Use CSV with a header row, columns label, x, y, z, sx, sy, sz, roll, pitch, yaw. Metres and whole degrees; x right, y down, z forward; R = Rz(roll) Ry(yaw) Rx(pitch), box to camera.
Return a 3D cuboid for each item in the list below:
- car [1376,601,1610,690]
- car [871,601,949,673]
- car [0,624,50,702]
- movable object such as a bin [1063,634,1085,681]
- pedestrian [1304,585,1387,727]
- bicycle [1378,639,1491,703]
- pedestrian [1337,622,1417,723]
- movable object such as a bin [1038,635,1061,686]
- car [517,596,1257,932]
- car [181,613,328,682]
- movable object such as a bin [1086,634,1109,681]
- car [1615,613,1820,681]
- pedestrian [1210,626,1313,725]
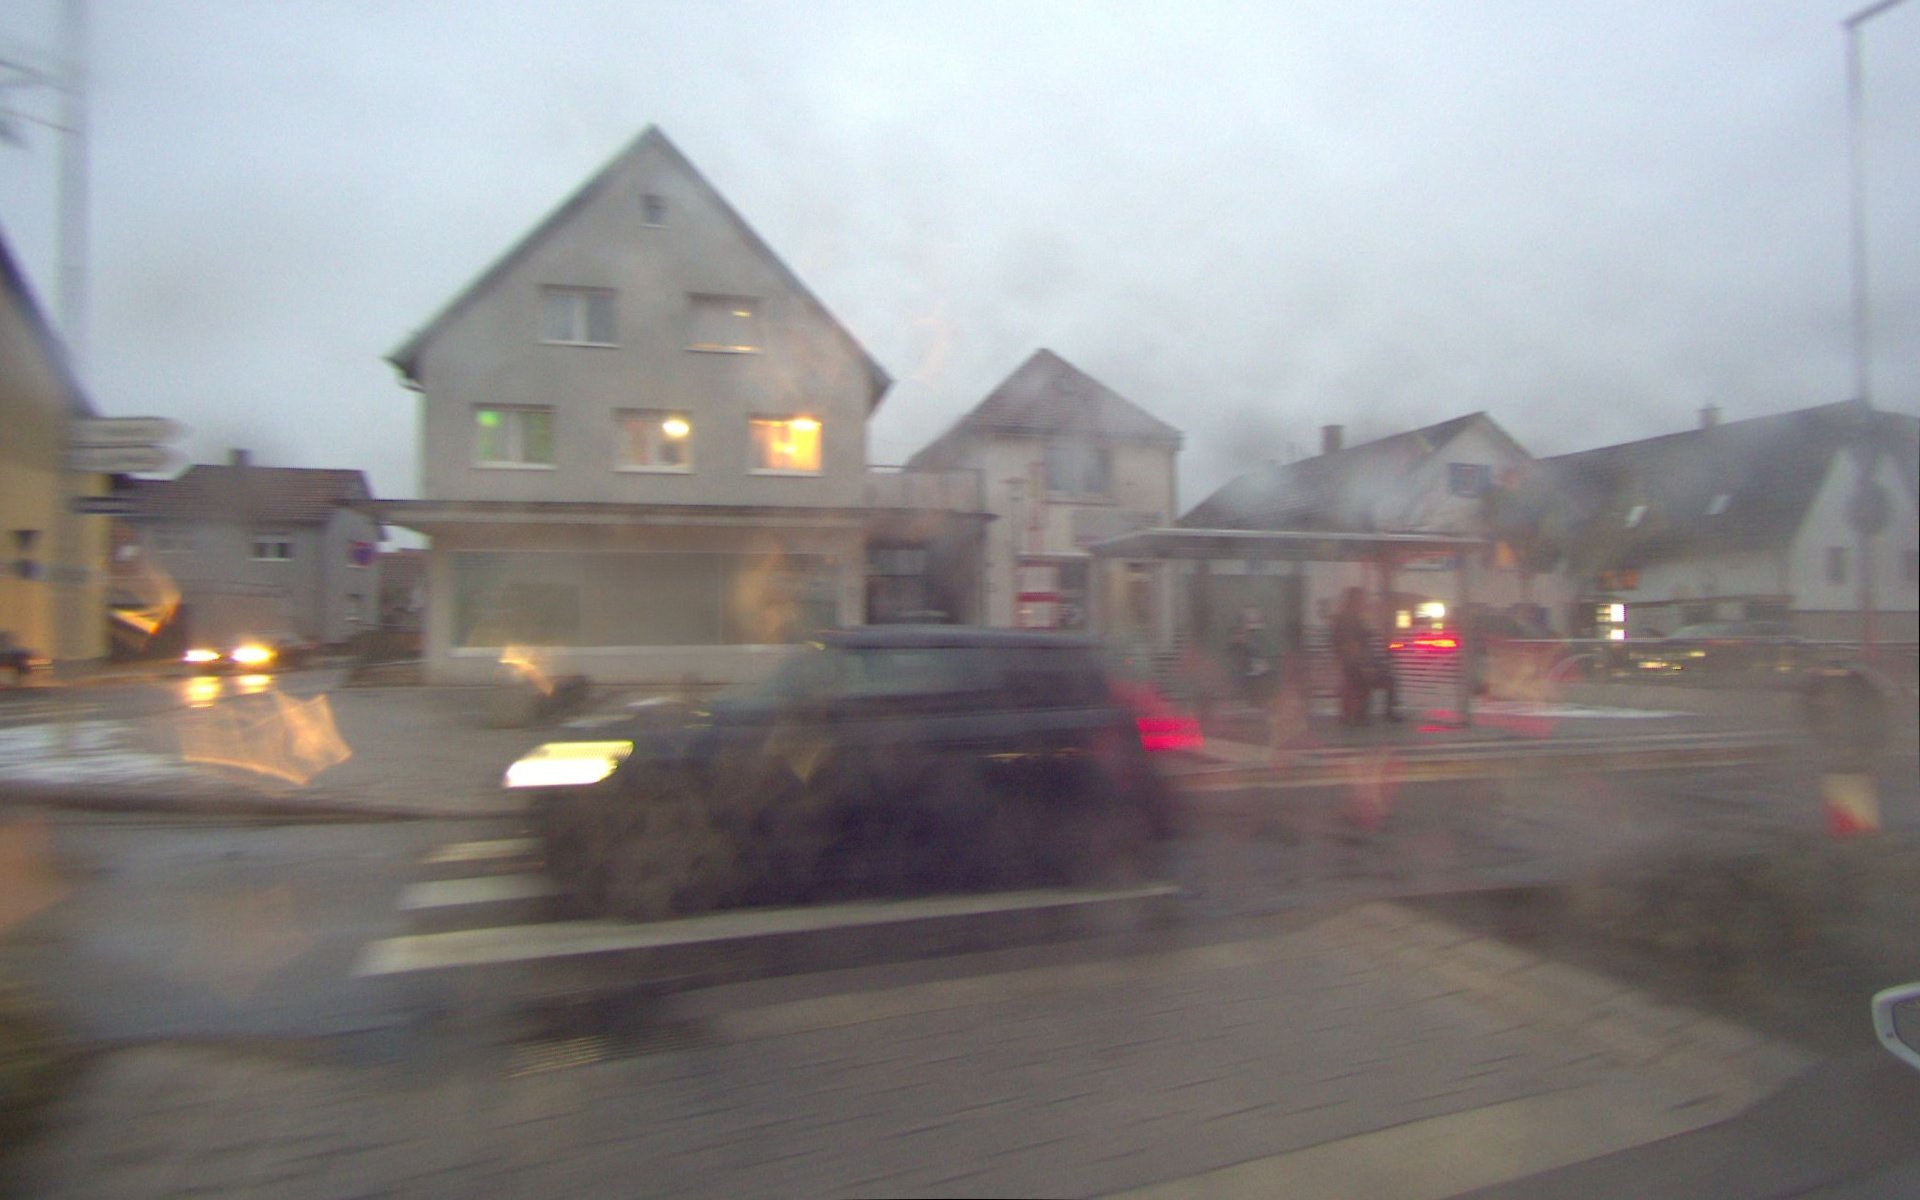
label,x,y,z,sx,sy,sz,roll,pitch,yaw
car,11.406,0.969,21.544,4.492,1.723,1.755,-1,-4,-18
car,-1.448,1.028,27.980,1.488,1.877,3.417,1,-2,-15
car,-21.271,1.324,20.410,1.853,1.626,4.369,2,-1,-7
movable object such as a bin,2.829,1.426,24.902,0.446,1.135,0.287,2,-1,-19
pedestrian,4.949,0.689,12.927,0.678,1.765,0.746,-1,0,-24
bicycle,7.878,1.169,16.695,1.707,1.023,0.471,0,-1,-8
pedestrian,5.605,0.953,13.527,0.739,1.288,0.684,0,0,-19
movable object such as a bin,2.199,1.476,24.681,0.446,1.226,0.287,2,-1,-19
car,-0.395,0.774,5.924,3.835,1.523,1.702,1,-1,-17
car,-22.867,1.481,32.795,1.963,2.040,4.460,2,-1,-7
movable object such as a bin,3.434,1.434,25.085,0.446,1.157,0.287,2,-1,-19
car,18.026,1.116,23.906,4.505,1.502,1.800,1,-4,-22
pedestrian,3.883,0.944,12.999,0.886,1.174,0.989,-2,0,-14
